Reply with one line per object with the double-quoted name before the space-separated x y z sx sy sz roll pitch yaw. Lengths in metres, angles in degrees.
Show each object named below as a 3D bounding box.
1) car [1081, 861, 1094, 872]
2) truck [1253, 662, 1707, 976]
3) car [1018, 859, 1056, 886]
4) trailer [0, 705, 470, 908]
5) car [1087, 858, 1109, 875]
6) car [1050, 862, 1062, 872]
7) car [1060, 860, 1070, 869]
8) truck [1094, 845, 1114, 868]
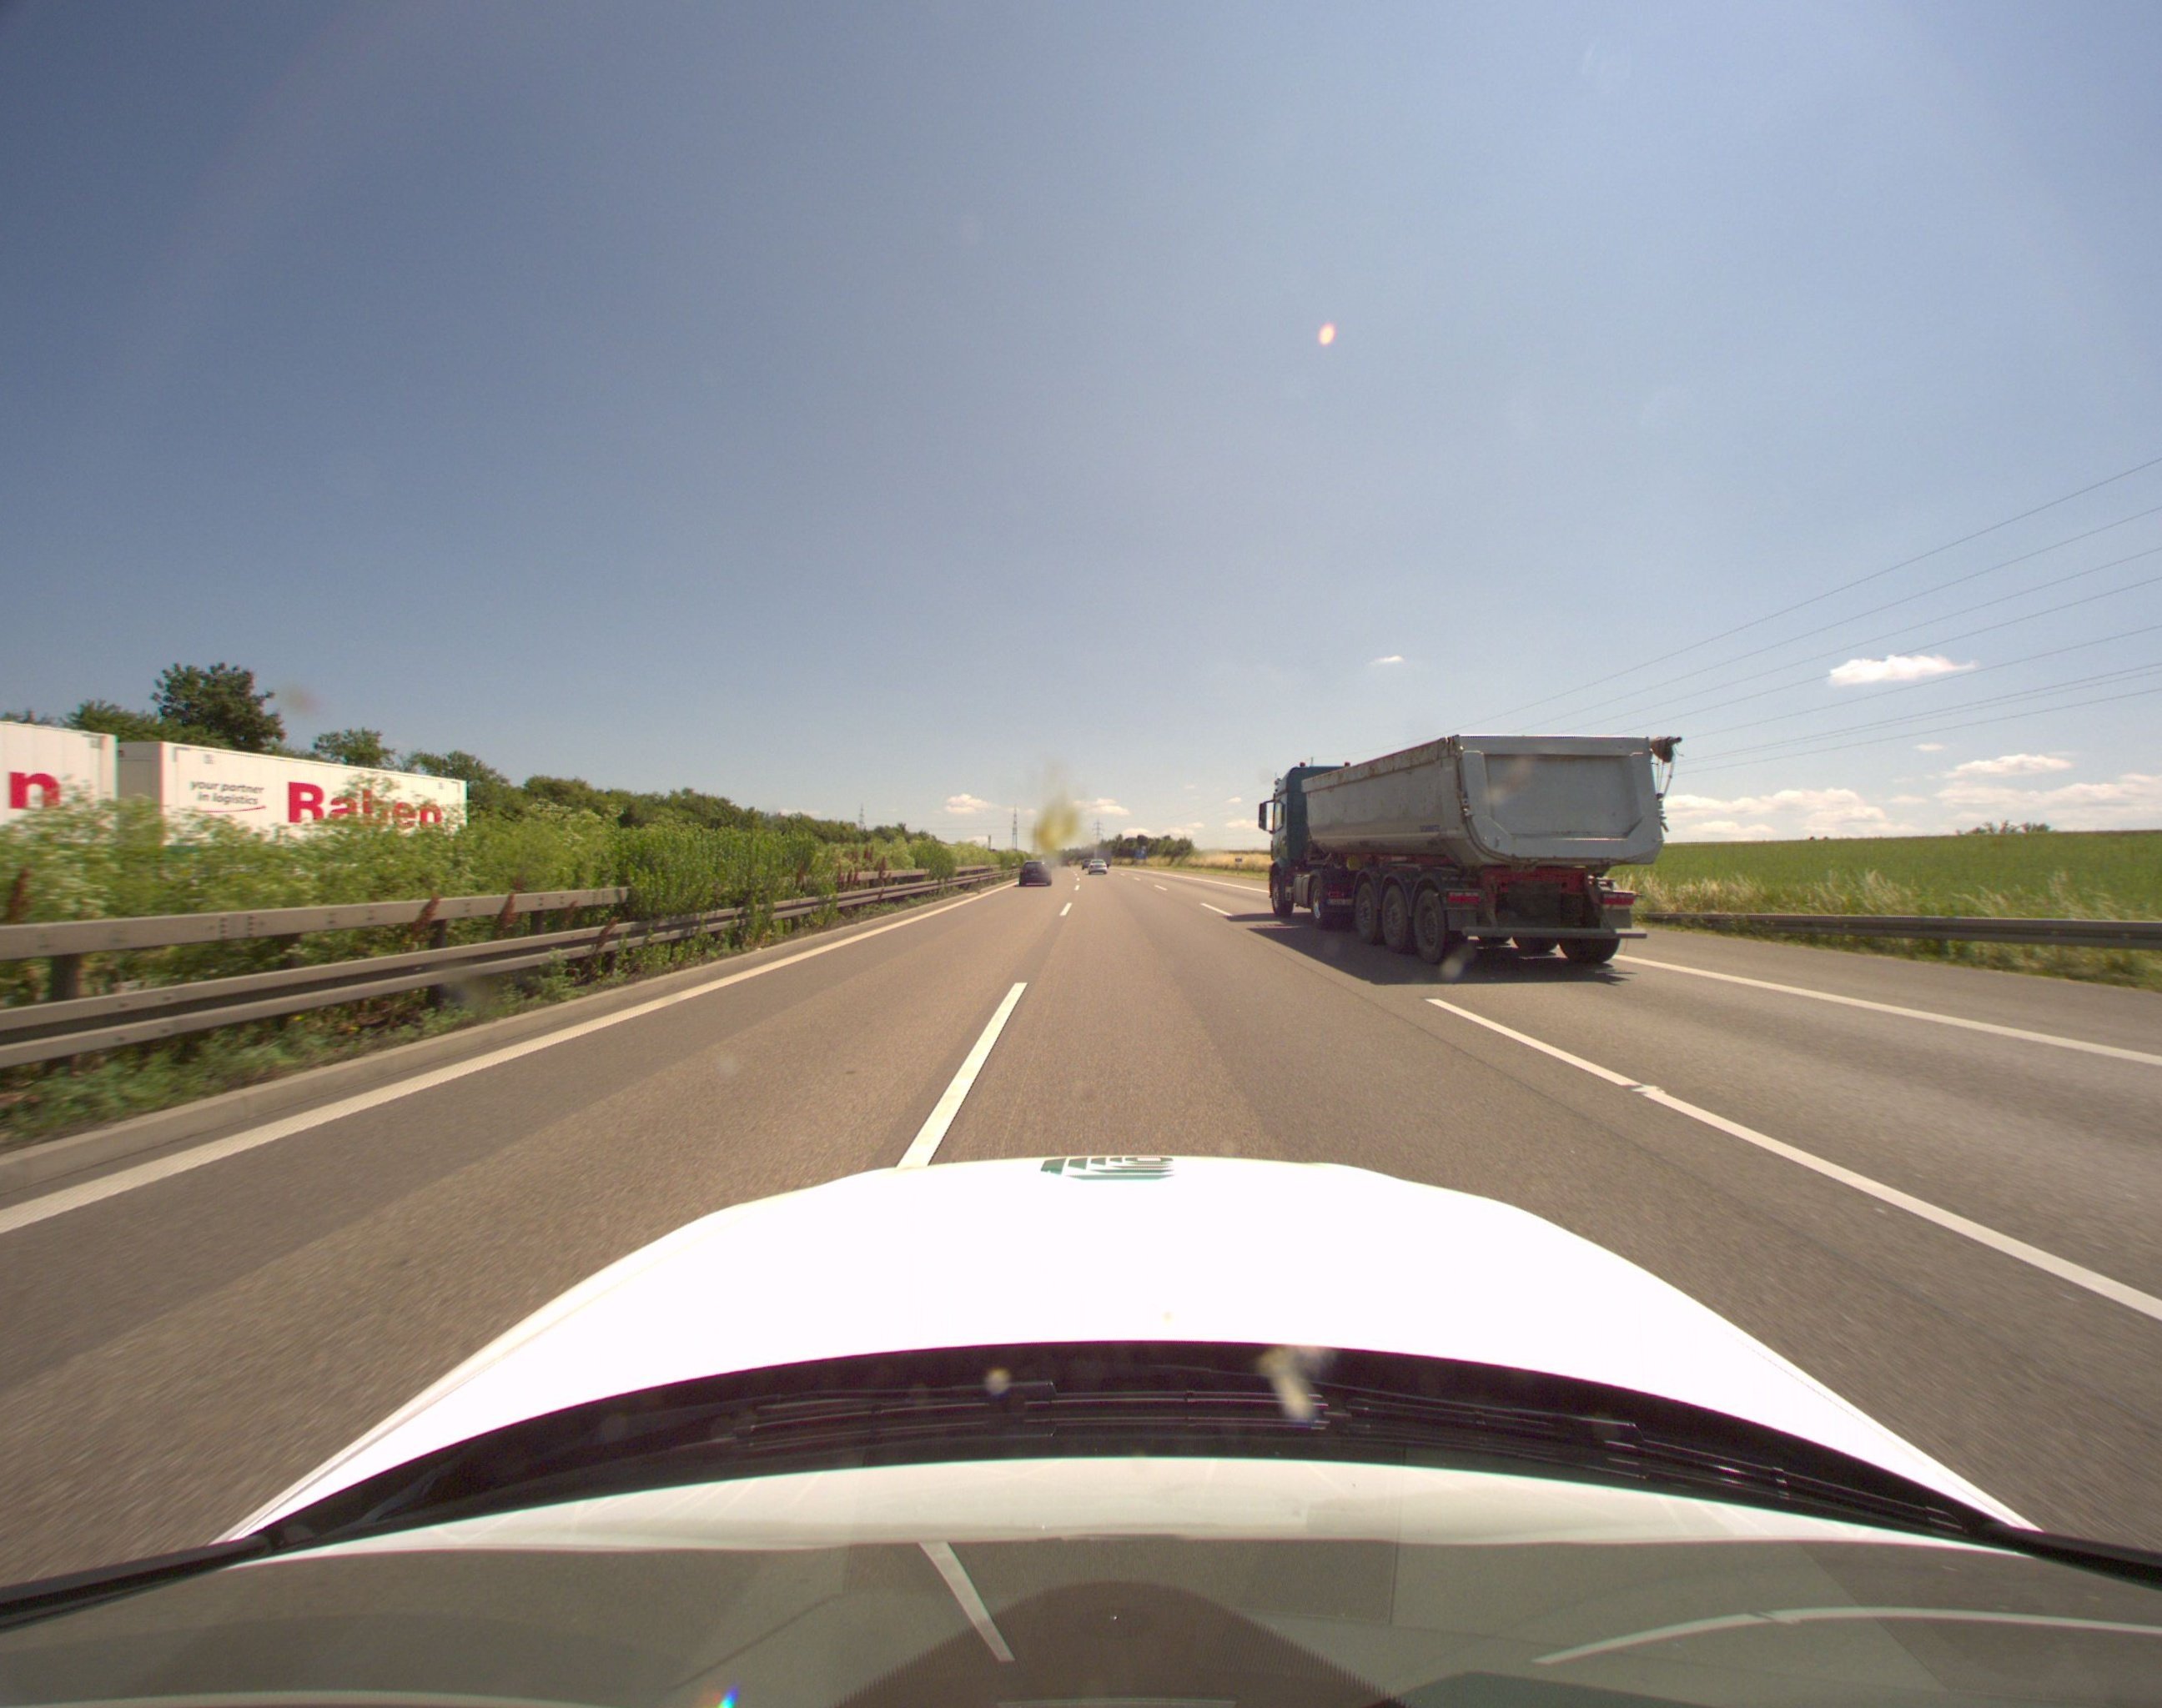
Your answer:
"car" 1.011 1.832 120.419 1.833 1.541 3.913 -1 0 0
"truck" 6.146 -0.384 16.176 2.855 3.724 12.763 -1 0 1
"car" -2.489 1.028 46.723 1.749 1.429 4.002 -1 0 2
"trailer" -19.560 -0.766 16.223 2.588 3.443 15.831 -1 0 1
"car" 1.641 1.224 79.976 1.816 1.541 3.909 -1 0 -4
"car" -4.686 2.484 154.327 1.986 1.860 4.001 -1 0 1
"car" -3.361 2.213 173.605 1.895 1.926 4.000 -1 0 1
"truck" 3.985 0.538 145.269 3.211 3.924 9.056 -1 -1 -1
